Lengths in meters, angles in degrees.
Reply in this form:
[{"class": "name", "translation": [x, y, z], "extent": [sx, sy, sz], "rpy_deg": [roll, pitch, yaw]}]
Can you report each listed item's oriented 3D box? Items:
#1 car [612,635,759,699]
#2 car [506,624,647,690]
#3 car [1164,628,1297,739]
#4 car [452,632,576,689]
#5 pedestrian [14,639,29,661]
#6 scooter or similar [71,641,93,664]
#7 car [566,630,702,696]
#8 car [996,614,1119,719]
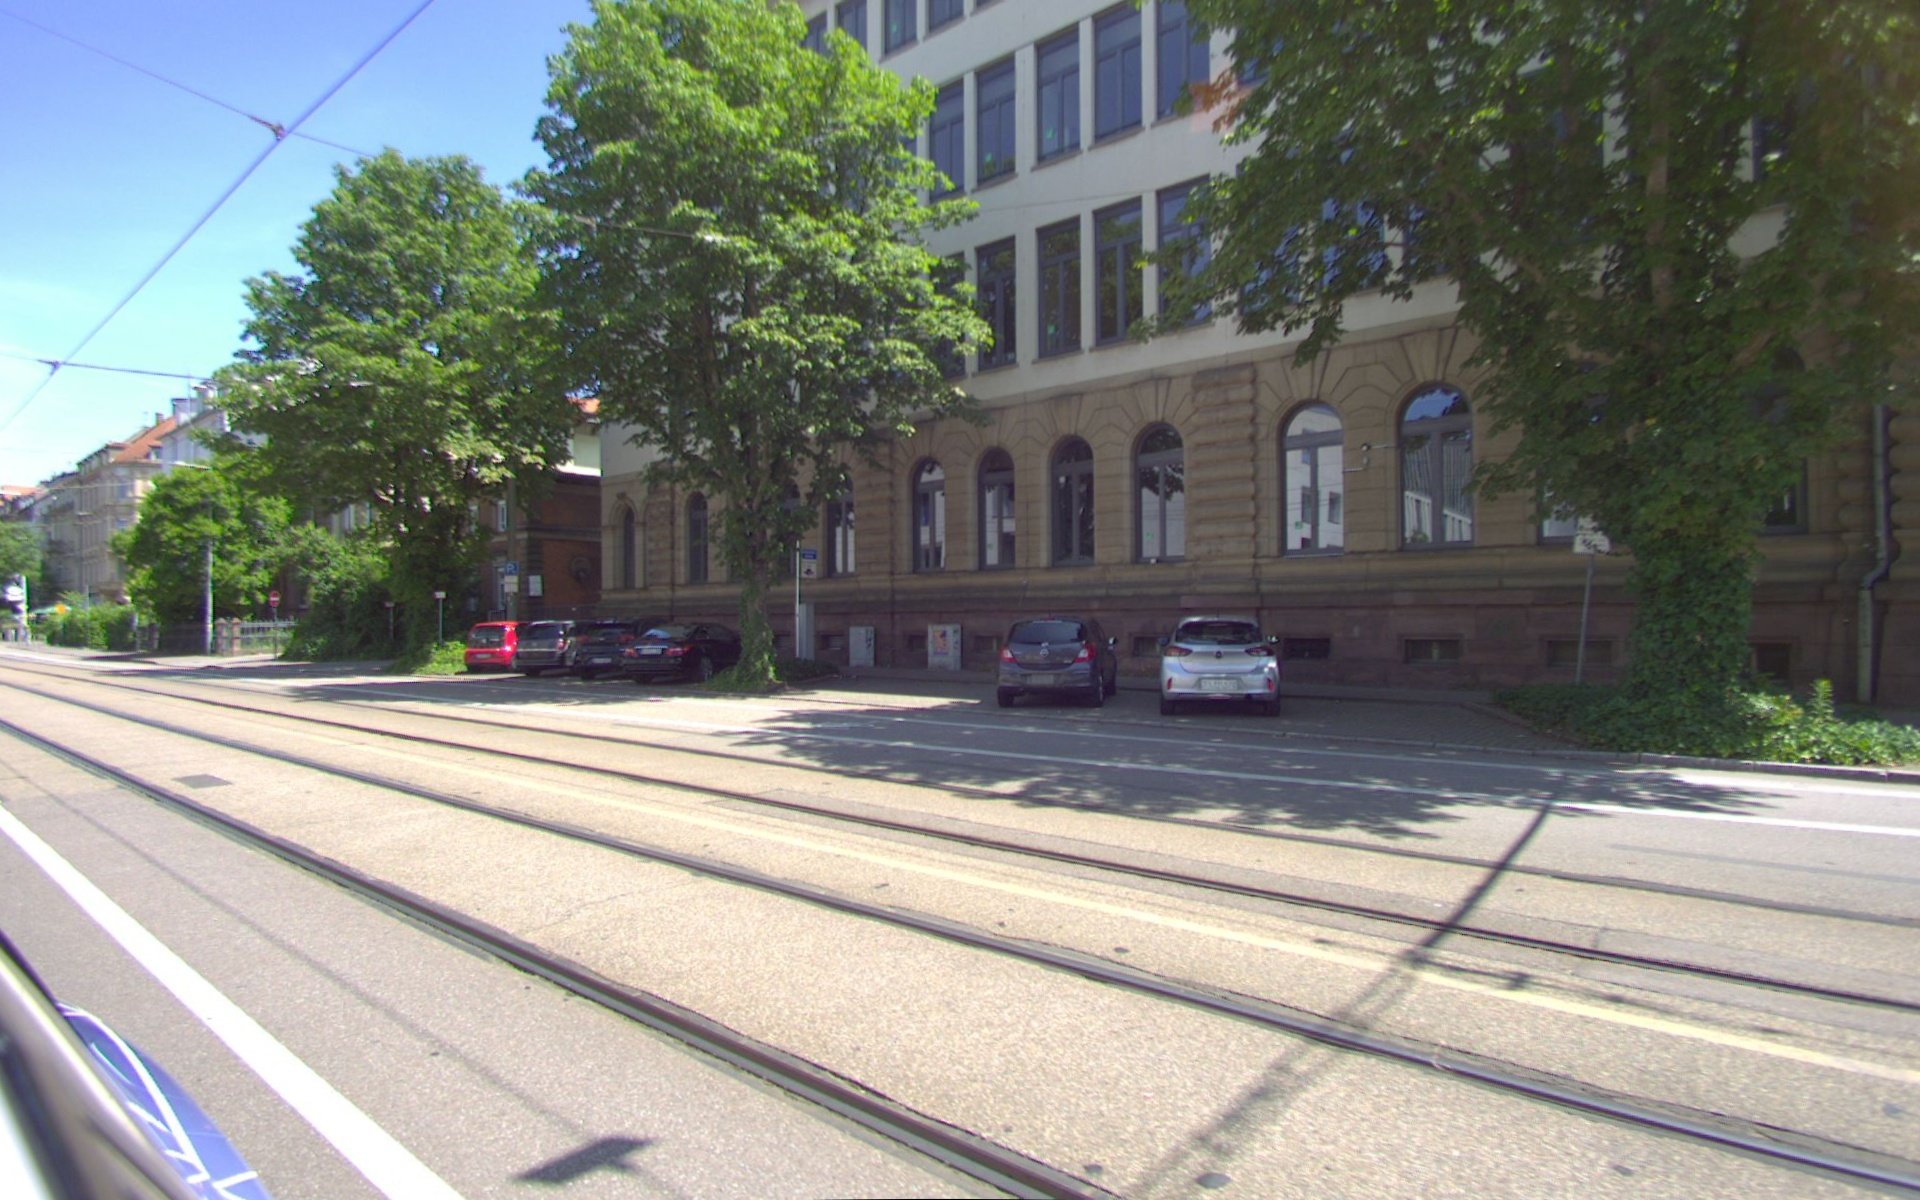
[{"class": "car", "translation": [-6.385, 1.535, 24.006], "extent": [1.654, 1.385, 3.915], "rpy_deg": [-1, -2, 15]}, {"class": "car", "translation": [-10.541, 1.527, 28.181], "extent": [1.652, 1.596, 4.307], "rpy_deg": [-1, -1, 11]}, {"class": "car", "translation": [3.963, 1.163, 15.245], "extent": [1.684, 1.416, 3.535], "rpy_deg": [-1, -1, 12]}, {"class": "car", "translation": [-13.159, 1.764, 30.041], "extent": [1.654, 1.527, 3.337], "rpy_deg": [-1, -1, 15]}, {"class": "pedestrian", "translation": [-72.005, 3.832, 77.623], "extent": [0.939, 1.654, 0.732], "rpy_deg": [-2, -3, 43]}, {"class": "scooter or similar", "translation": [-57.902, 3.463, 66.759], "extent": [0.597, 1.462, 0.998], "rpy_deg": [-1, -1, 40]}, {"class": "car", "translation": [-8.358, 1.591, 26.303], "extent": [1.775, 1.589, 3.804], "rpy_deg": [-1, -2, 11]}, {"class": "car", "translation": [1.748, 1.039, 17.153], "extent": [1.652, 1.531, 3.663], "rpy_deg": [-1, 0, 12]}]
